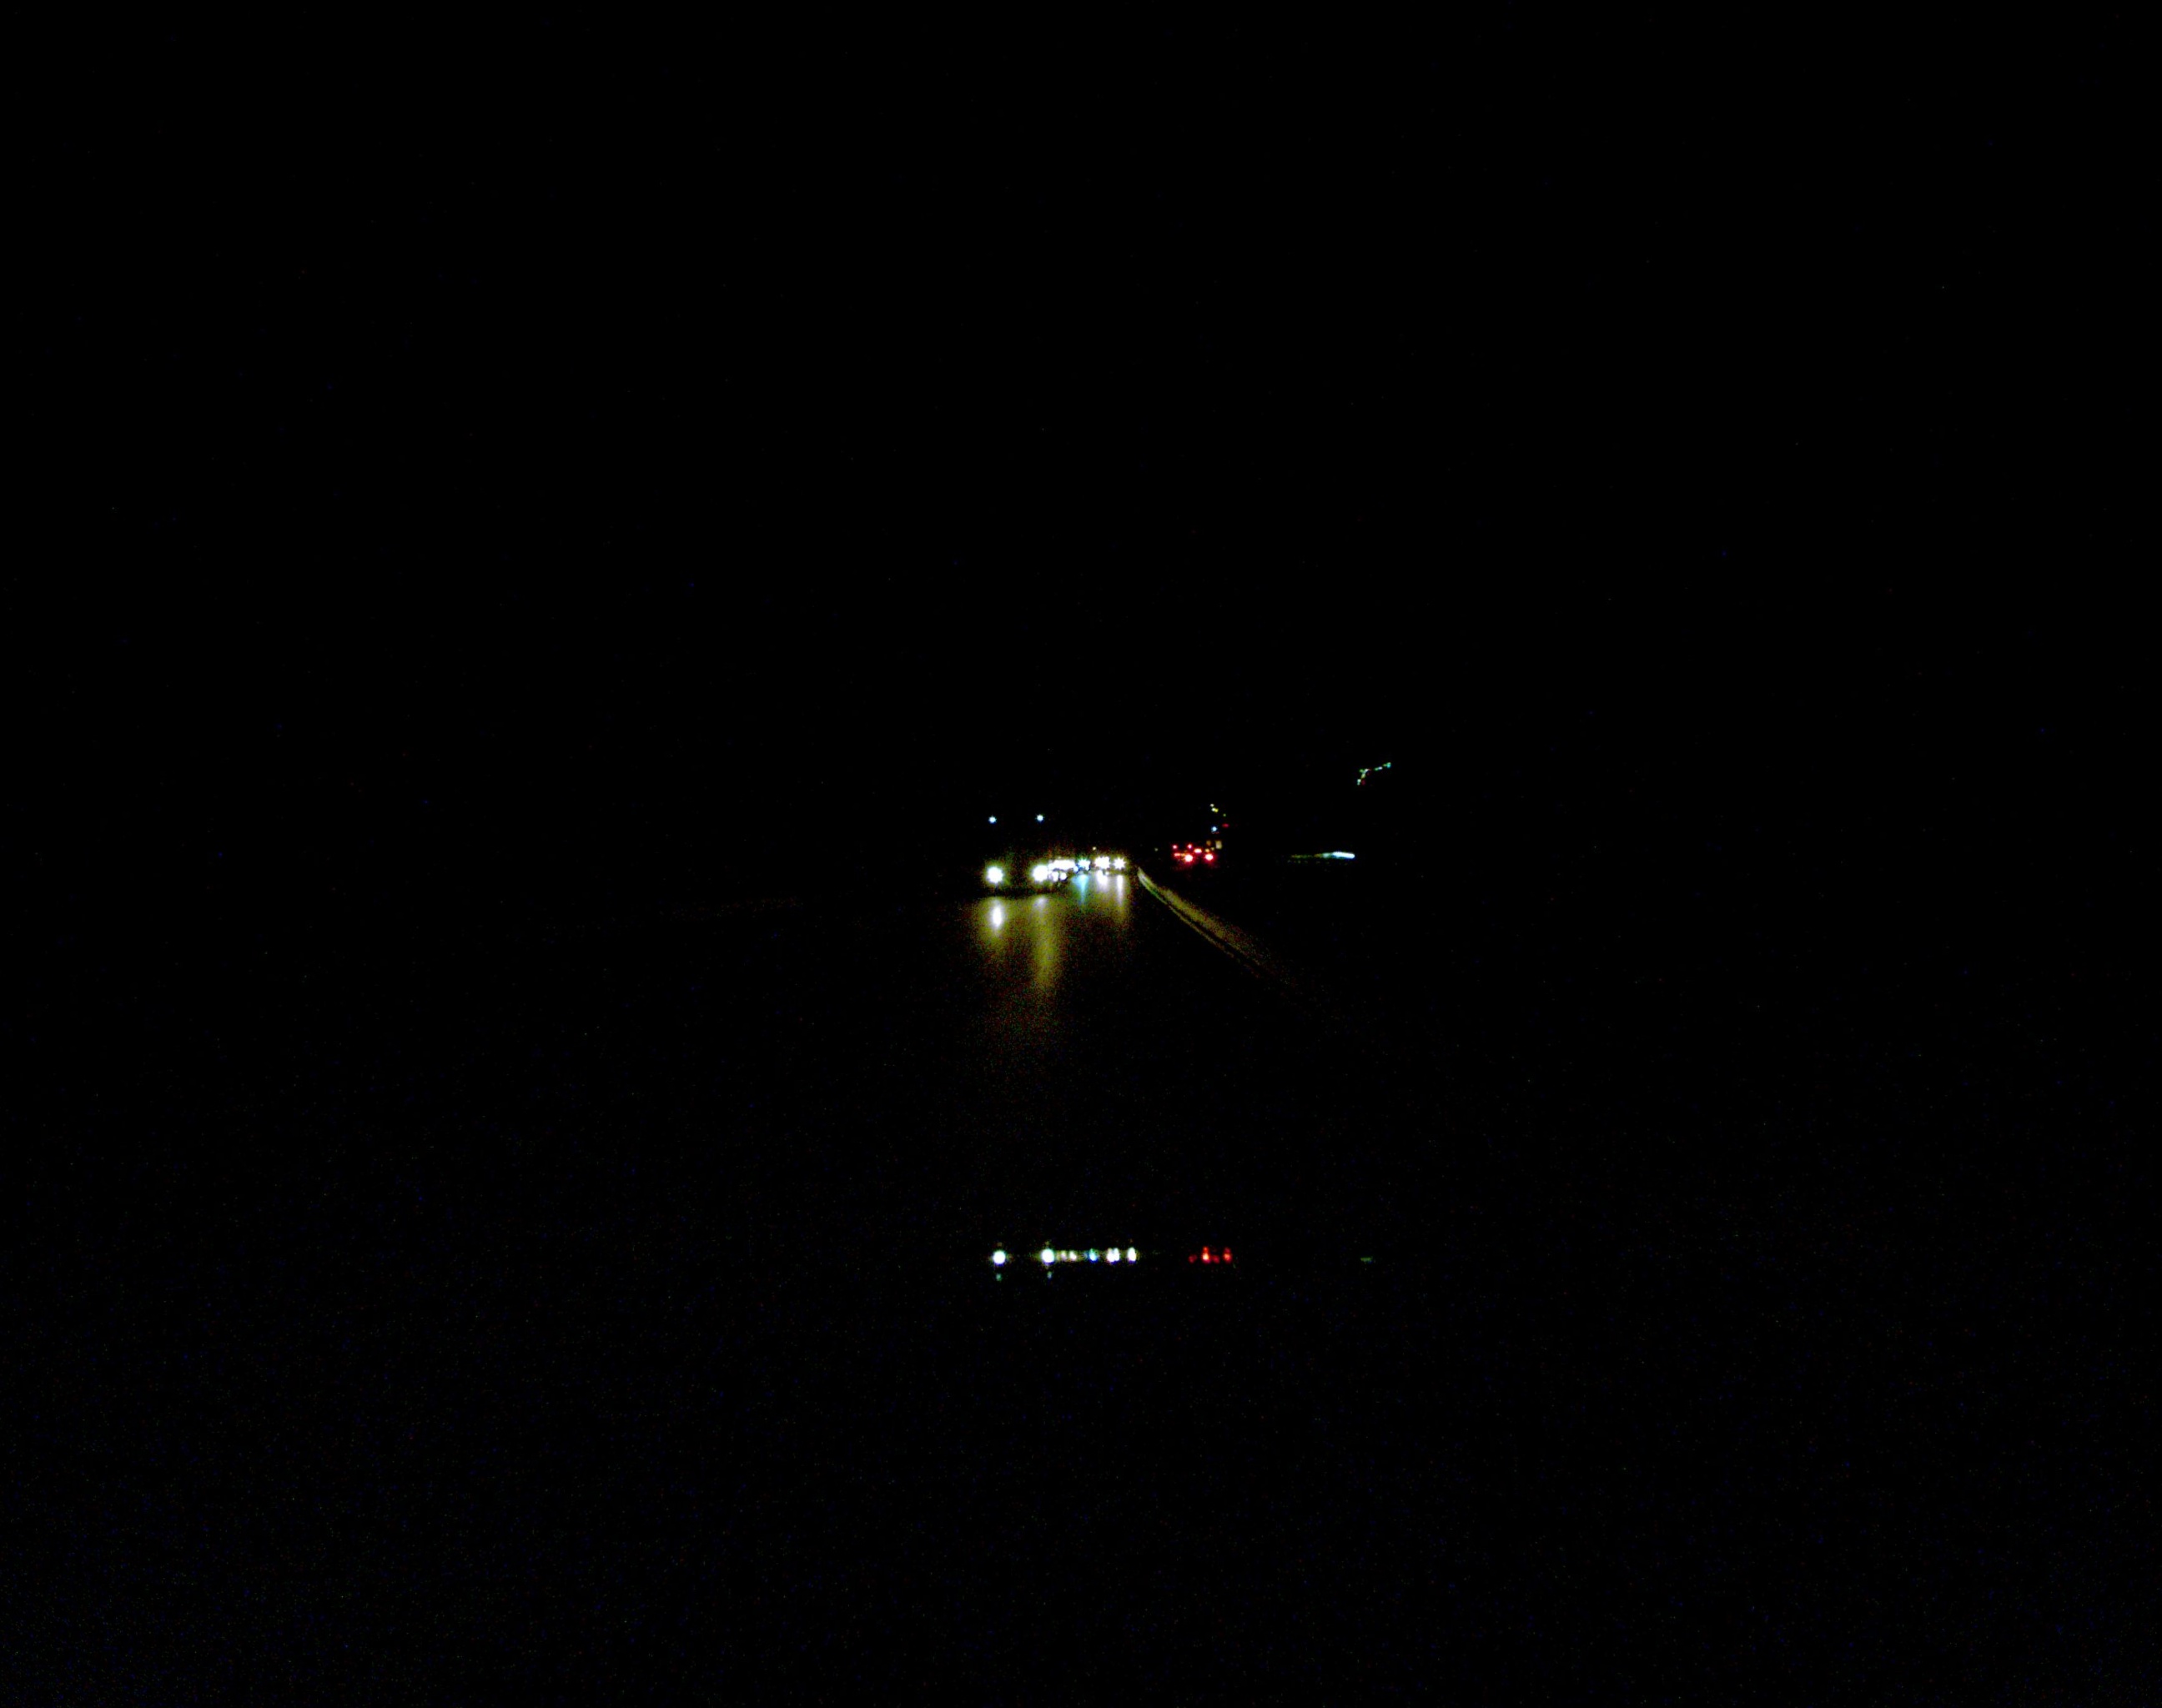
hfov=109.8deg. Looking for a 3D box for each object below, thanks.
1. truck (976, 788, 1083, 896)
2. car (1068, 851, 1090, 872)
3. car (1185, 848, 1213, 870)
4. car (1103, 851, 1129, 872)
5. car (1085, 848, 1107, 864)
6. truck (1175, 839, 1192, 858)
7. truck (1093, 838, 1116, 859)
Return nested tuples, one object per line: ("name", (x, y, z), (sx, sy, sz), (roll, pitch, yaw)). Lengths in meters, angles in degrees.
("truck", (-2.070, -0.595, 39.255), (2.971, 4.250, 17.147), (-2, 1, 4))
("car", (-0.127, 0.610, 62.760), (1.691, 1.619, 4.723), (-2, -1, 0))
("car", (8.611, 0.373, 55.704), (1.812, 1.508, 3.938), (-2, -1, 6))
("car", (2.714, 0.578, 59.465), (1.812, 1.508, 3.936), (-2, -1, 1))
("car", (1.545, 0.194, 77.542), (1.812, 1.508, 3.938), (-2, -1, 6))
("truck", (14.515, -0.877, 108.104), (2.306, 2.460, 6.273), (-2, 2, 7))
("truck", (2.945, -0.643, 94.898), (2.426, 2.410, 7.094), (-2, 0, 5))
